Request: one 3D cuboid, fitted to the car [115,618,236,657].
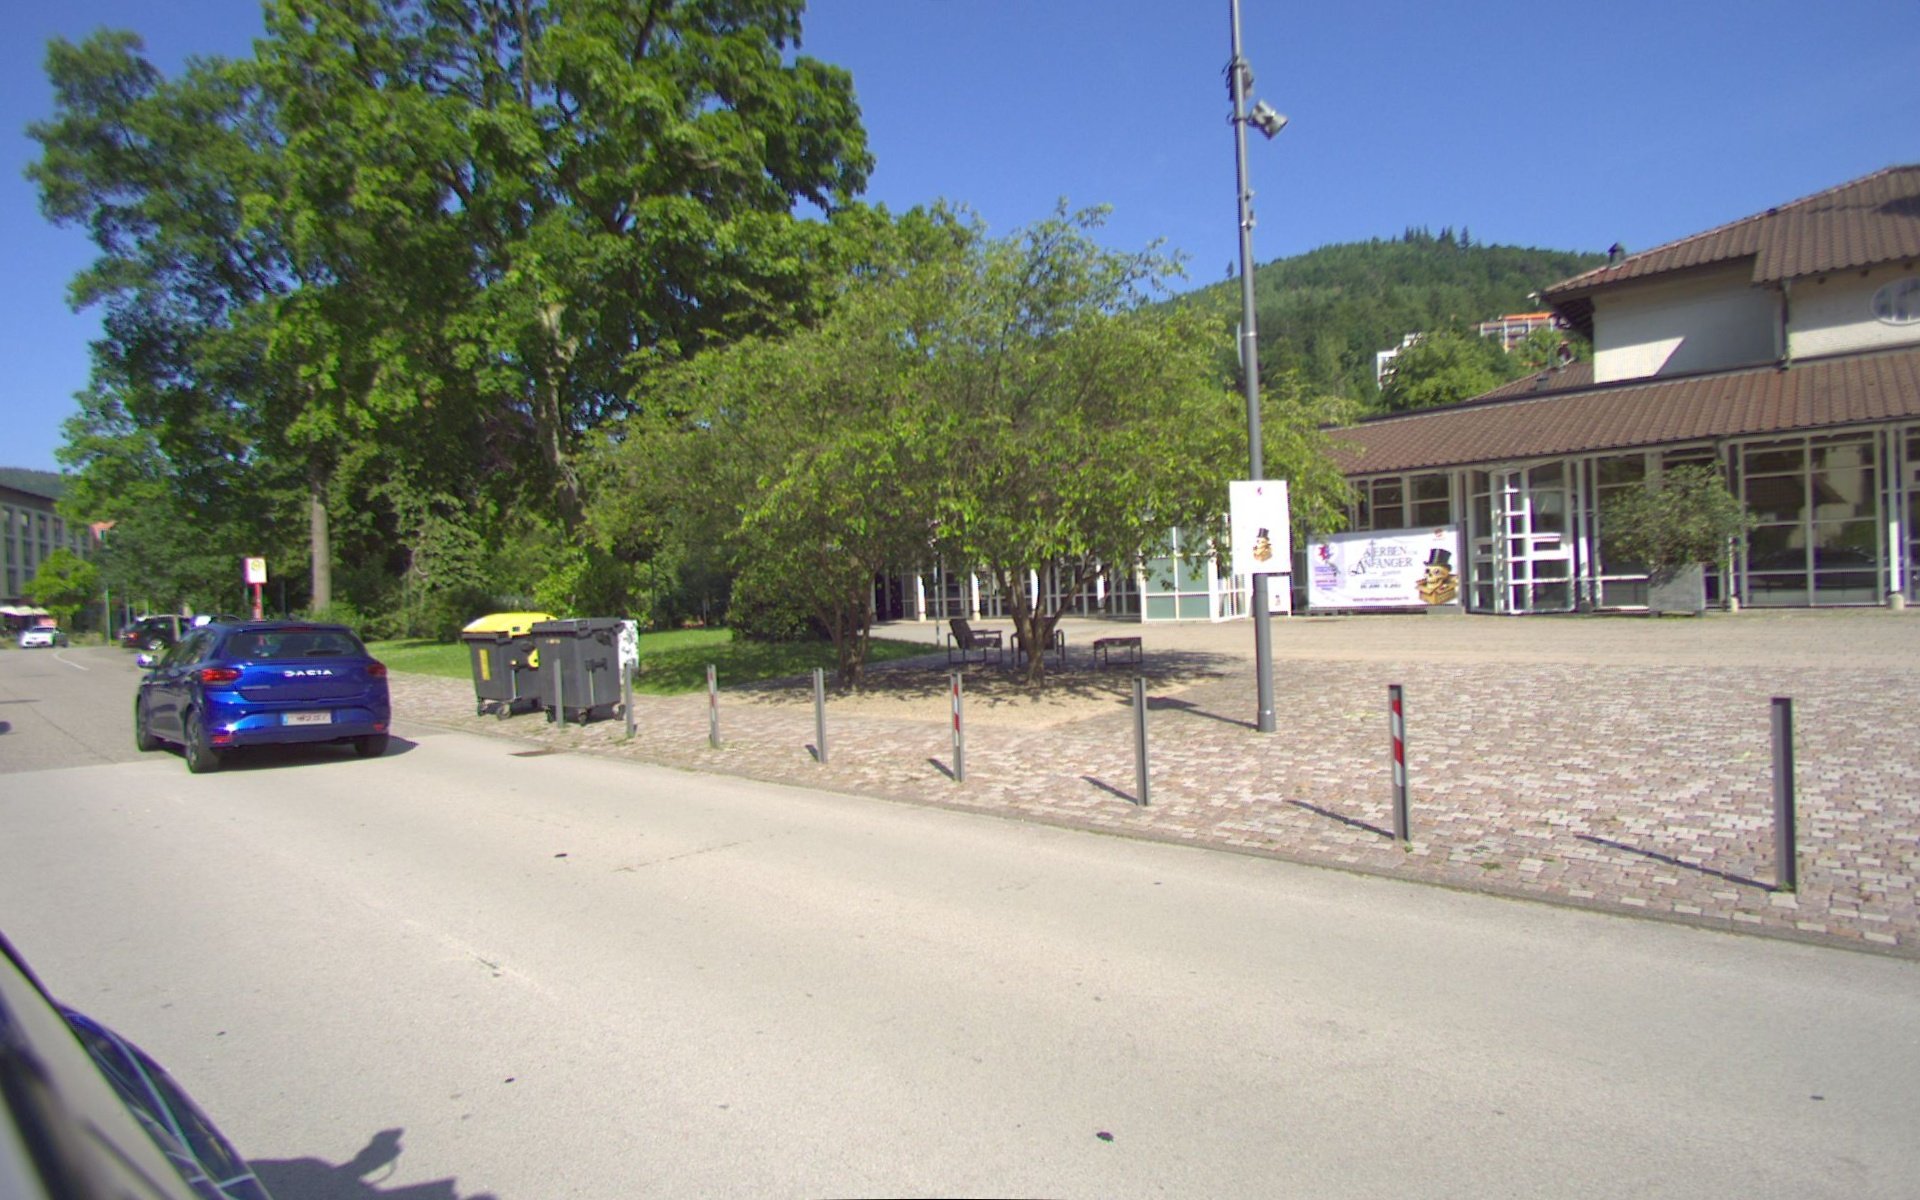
[{"bbox_3d":[-37.345,1.779,48.284,1.711,1.442,4.234,-2,2,39],"label":"car"}]

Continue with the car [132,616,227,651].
[{"bbox_3d":[-47.818,2.026,62.056,4.430,1.675,1.812,-6,3,-42],"label":"car"}]

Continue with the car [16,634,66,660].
[{"bbox_3d":[-63.154,3.195,69.619,1.628,1.481,4.012,-5,2,-30],"label":"car"}]

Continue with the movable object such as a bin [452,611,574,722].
[{"bbox_3d":[-6.480,0.930,14.670,1.376,1.438,1.067,-2,2,43],"label":"movable object such as a bin"}]

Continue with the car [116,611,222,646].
[{"bbox_3d":[-44.513,1.576,57.082,4.424,1.427,1.815,-7,4,-33],"label":"car"}]

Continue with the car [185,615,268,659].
[{"bbox_3d":[-30.205,1.487,41.671,2.618,1.558,1.685,-5,2,-38],"label":"car"}]

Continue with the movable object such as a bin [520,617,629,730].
[{"bbox_3d":[-5.061,0.934,13.256,1.294,1.351,0.747,-2,2,43],"label":"movable object such as a bin"}]

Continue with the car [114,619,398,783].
[{"bbox_3d":[-7.969,0.968,11.309,4.186,1.474,1.722,-1,-1,42],"label":"car"}]
